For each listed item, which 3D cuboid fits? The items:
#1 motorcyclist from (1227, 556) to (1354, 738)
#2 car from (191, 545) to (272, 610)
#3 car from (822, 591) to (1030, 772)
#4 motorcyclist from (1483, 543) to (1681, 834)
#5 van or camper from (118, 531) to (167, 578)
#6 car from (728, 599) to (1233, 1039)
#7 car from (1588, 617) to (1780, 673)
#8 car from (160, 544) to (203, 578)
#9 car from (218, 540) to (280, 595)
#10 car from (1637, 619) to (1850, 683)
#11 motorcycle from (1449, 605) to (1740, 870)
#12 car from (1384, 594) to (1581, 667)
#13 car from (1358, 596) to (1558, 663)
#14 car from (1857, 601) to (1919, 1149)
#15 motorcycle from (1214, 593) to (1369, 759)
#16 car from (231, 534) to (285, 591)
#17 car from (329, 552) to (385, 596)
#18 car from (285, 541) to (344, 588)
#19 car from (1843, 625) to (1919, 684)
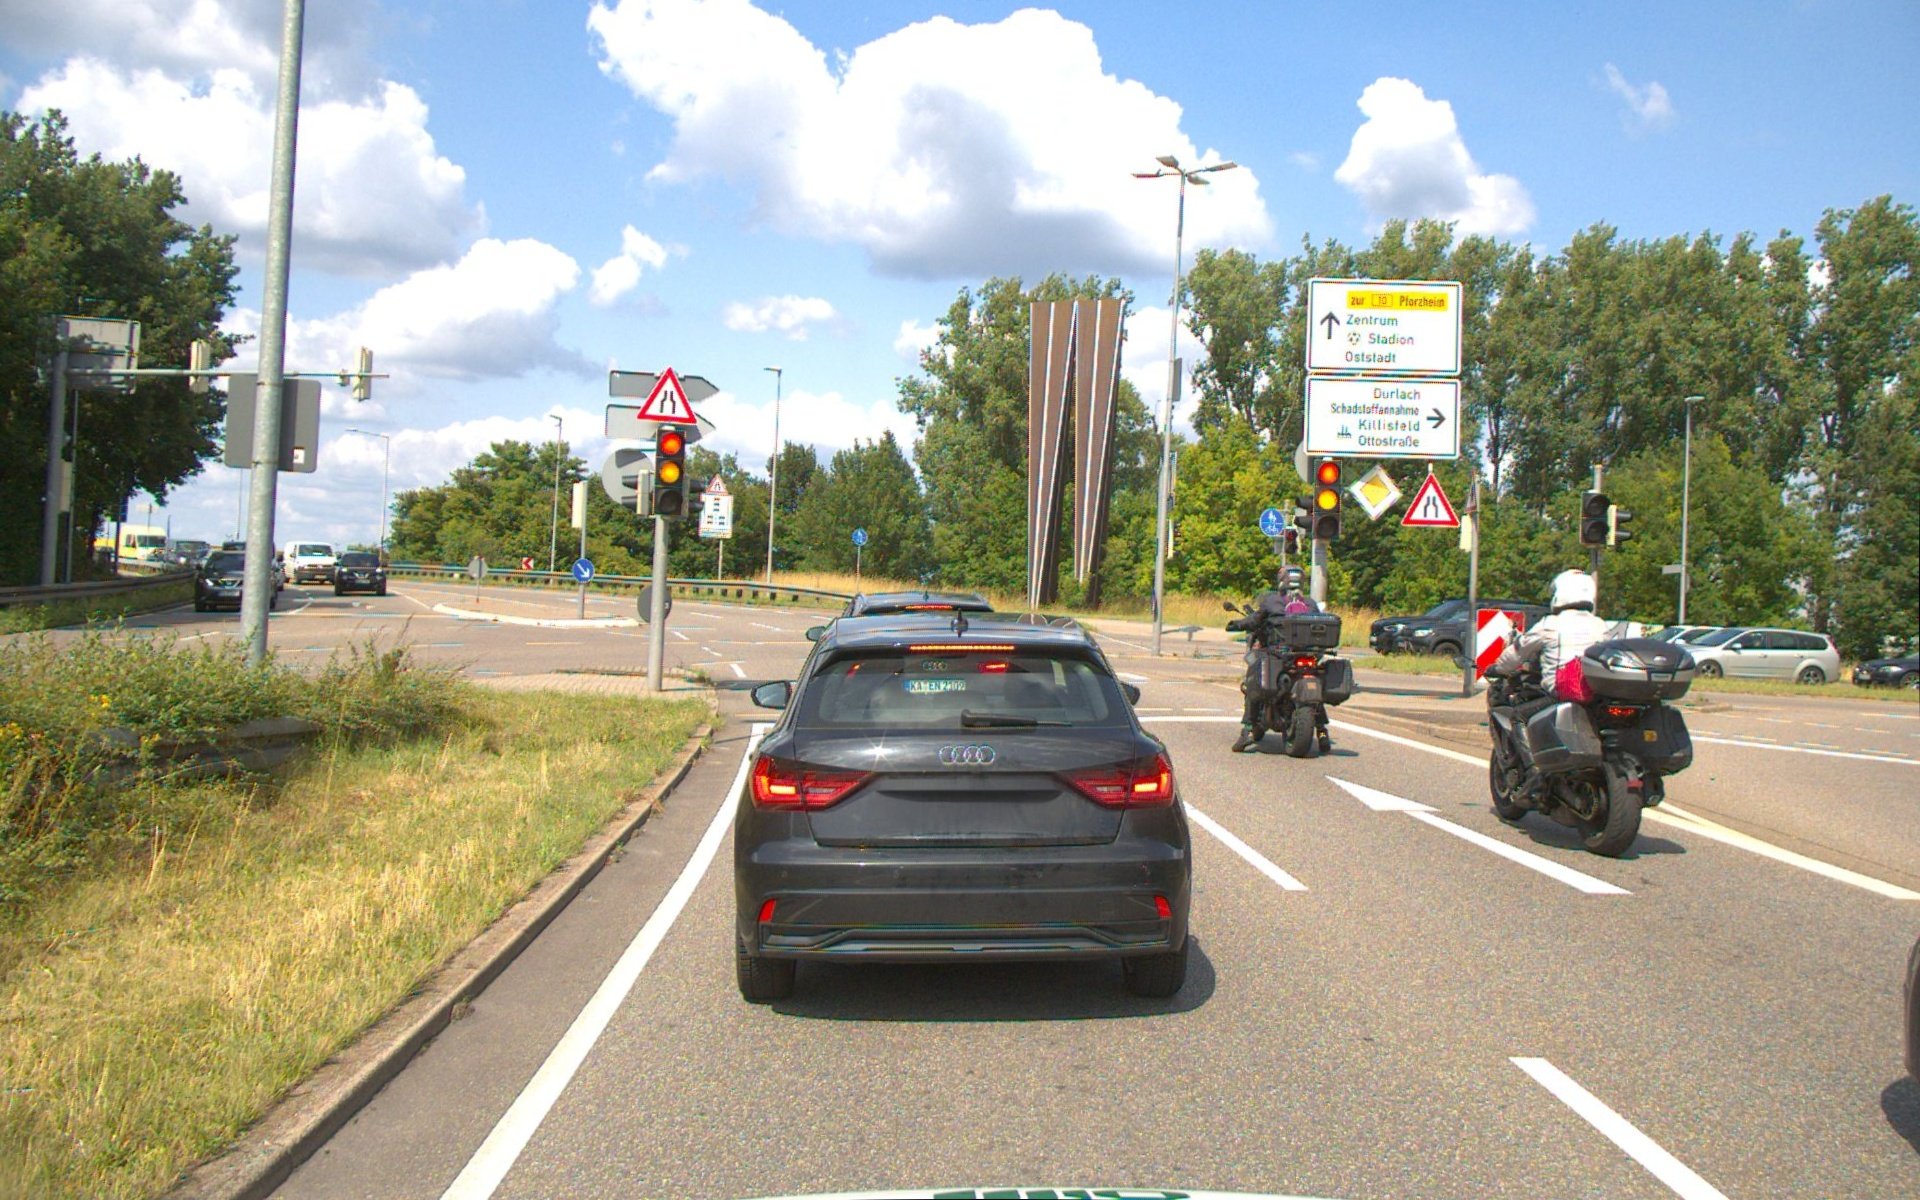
[{"bbox_3d":[3.078,0.418,15.489,0.918,1.618,1.083,2,0,-1],"label":"motorcyclist"},{"bbox_3d":[-19.859,-0.580,45.210,1.813,1.646,3.974,2,-1,-21],"label":"car"},{"bbox_3d":[-0.433,0.647,15.332,1.692,1.448,3.841,0,1,-5],"label":"car"},{"bbox_3d":[3.887,0.528,10.405,0.848,1.730,0.894,2,0,-1],"label":"motorcyclist"},{"bbox_3d":[-50.370,-2.798,101.849,1.974,2.730,6.788,2,0,-32],"label":"van or camper"},{"bbox_3d":[0.040,0.732,7.539,1.691,1.429,3.999,0,1,-1],"label":"car"},{"bbox_3d":[19.340,1.193,44.290,4.404,1.304,1.736,2,0,-4],"label":"car"},{"bbox_3d":[-42.134,-2.095,89.505,1.823,1.735,4.286,2,0,-29],"label":"car"},{"bbox_3d":[-25.370,-1.150,59.106,1.817,1.833,4.299,2,0,-22],"label":"car"},{"bbox_3d":[19.070,1.227,40.351,4.384,1.343,1.735,2,0,-4],"label":"car"},{"bbox_3d":[3.884,0.770,10.392,0.848,1.413,2.370,2,1,-1],"label":"motorcycle"},{"bbox_3d":[12.609,0.719,40.073,4.182,1.572,1.736,2,0,-2],"label":"car"},{"bbox_3d":[13.174,0.777,43.934,4.750,1.572,1.736,2,0,-2],"label":"car"},{"bbox_3d":[3.528,0.797,2.853,1.696,1.502,4.046,2,0,-1],"label":"car"},{"bbox_3d":[3.068,0.659,15.569,0.918,1.407,2.369,2,0,-1],"label":"motorcycle"},{"bbox_3d":[-28.215,-1.499,66.407,1.819,2.137,4.293,2,0,-24],"label":"car"},{"bbox_3d":[-22.535,-0.972,61.736,1.708,1.522,4.018,2,0,-23],"label":"car"},{"bbox_3d":[-30.152,-1.646,77.202,1.972,2.049,4.427,2,0,-29],"label":"car"},{"bbox_3d":[26.469,1.518,44.880,4.141,1.502,1.736,2,0,-4],"label":"car"}]
